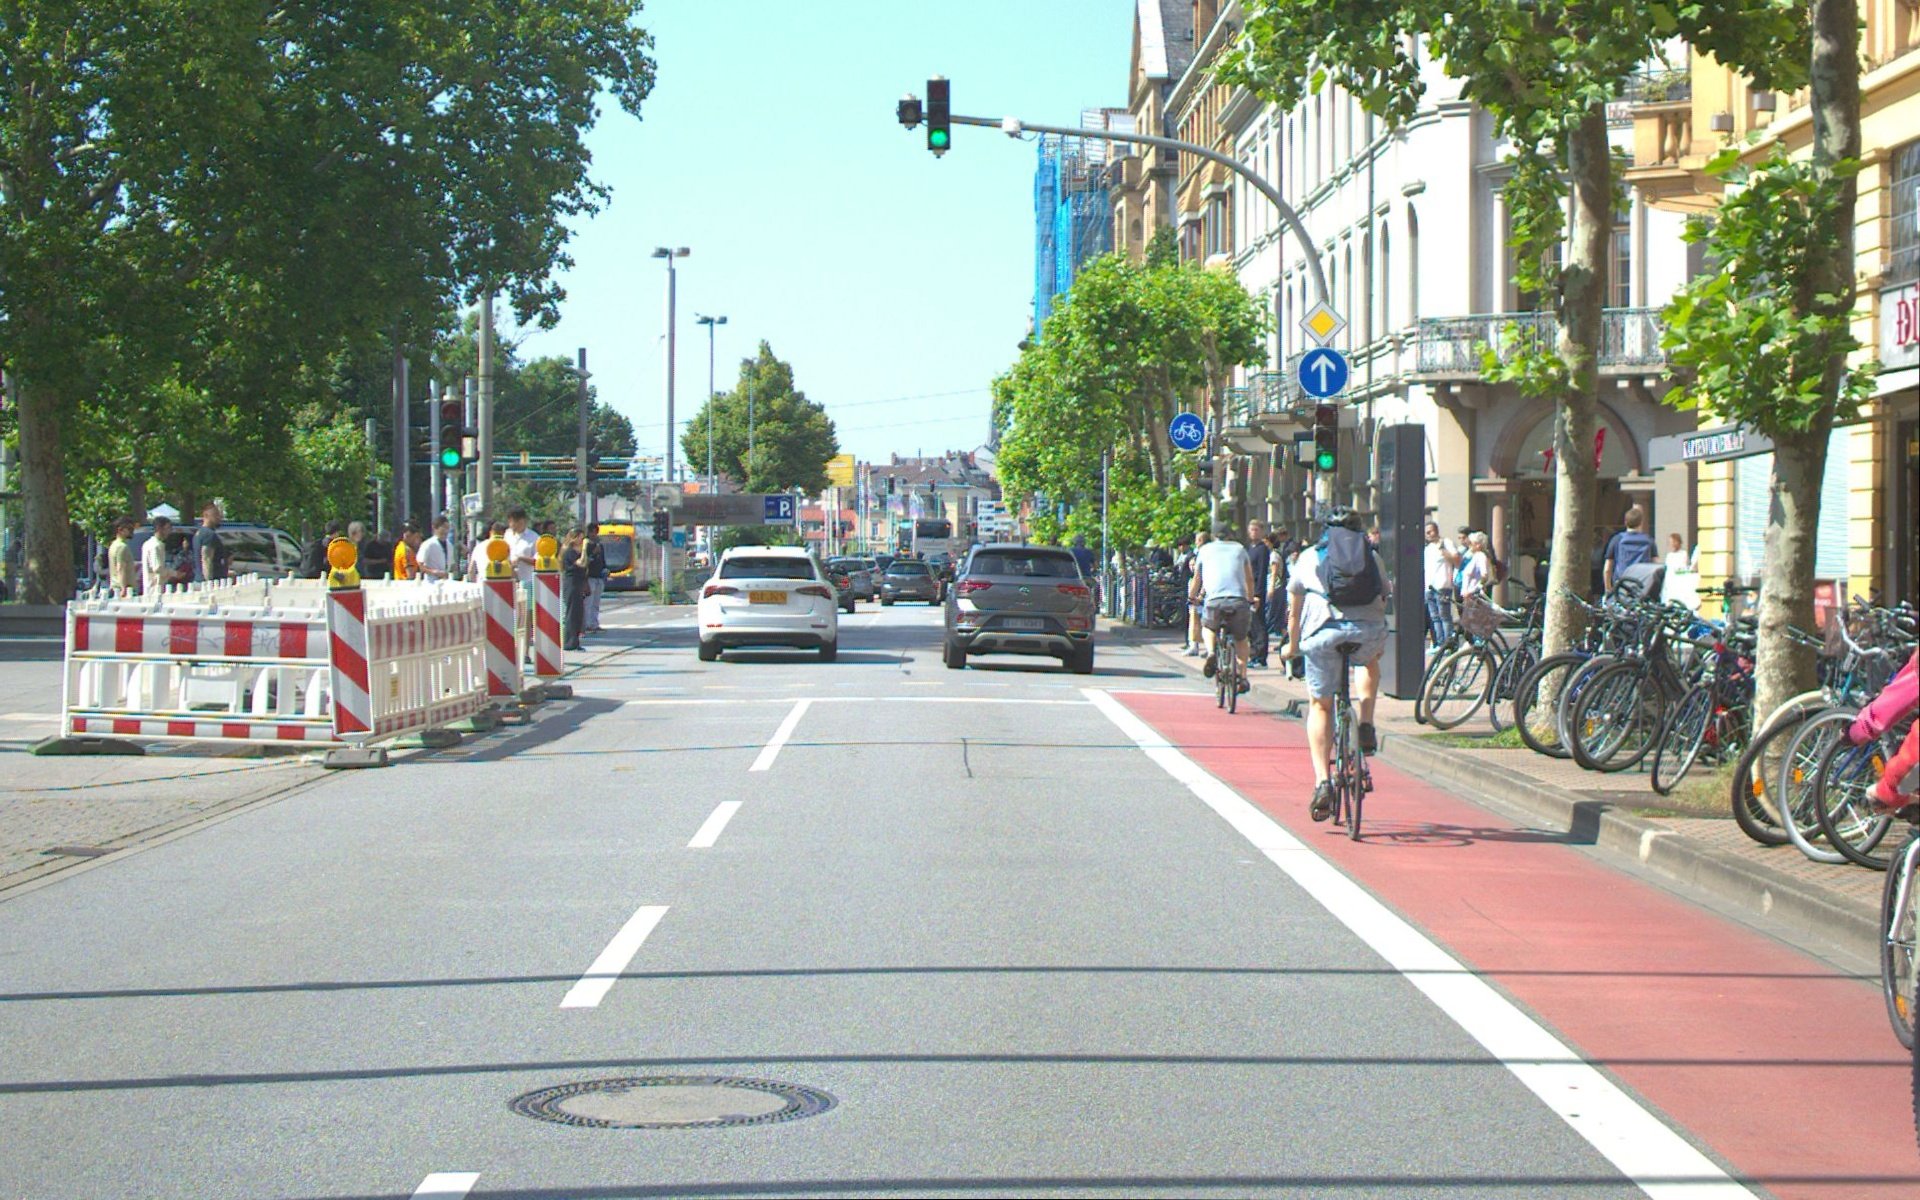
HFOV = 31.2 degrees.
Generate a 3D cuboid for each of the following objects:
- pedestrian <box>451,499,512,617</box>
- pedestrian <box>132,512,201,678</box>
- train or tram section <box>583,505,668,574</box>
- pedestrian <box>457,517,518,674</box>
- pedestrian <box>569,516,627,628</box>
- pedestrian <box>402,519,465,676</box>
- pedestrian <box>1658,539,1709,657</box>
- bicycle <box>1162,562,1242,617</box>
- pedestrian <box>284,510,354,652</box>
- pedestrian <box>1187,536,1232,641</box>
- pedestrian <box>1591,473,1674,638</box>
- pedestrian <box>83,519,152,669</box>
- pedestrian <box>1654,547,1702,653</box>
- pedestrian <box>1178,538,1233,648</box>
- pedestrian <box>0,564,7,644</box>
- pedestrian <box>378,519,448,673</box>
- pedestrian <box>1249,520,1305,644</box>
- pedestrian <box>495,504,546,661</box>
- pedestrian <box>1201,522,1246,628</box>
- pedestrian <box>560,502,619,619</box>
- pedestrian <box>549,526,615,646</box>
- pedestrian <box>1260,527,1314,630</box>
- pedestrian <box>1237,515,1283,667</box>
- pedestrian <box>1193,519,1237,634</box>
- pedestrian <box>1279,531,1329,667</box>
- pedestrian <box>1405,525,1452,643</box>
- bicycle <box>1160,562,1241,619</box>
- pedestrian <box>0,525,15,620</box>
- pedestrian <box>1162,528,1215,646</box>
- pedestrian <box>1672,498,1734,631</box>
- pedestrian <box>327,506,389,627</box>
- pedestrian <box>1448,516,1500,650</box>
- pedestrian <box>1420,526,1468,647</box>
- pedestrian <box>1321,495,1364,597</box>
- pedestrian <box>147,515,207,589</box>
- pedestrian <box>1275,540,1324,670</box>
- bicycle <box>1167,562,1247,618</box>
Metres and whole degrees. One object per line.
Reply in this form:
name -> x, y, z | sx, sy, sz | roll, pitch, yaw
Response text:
pedestrian -> -7.605, -0.669, 54.652 | 0.633, 1.852, 0.730 | 1, 0, 29
pedestrian -> -9.144, -0.062, 39.629 | 0.576, 1.884, 0.653 | 2, 0, 1
train or tram section -> -16.596, -3.019, 171.438 | 2.613, 3.337, 11.001 | 1, 1, 3
pedestrian -> -5.270, -0.053, 38.327 | 0.429, 1.734, 0.606 | 1, 0, -31
pedestrian -> -5.968, -0.464, 56.650 | 0.633, 1.828, 0.730 | 1, 0, 29
pedestrian -> -6.053, -0.027, 39.534 | 0.539, 1.773, 0.606 | 2, 0, 5
pedestrian -> 11.161, -0.033, 53.055 | 0.610, 1.800, 0.678 | 0, 0, -2
bicycle -> 4.442, -0.194, 63.134 | 1.420, 0.976, 0.445 | -1, 2, 0
pedestrian -> -8.454, -0.248, 45.358 | 0.633, 1.852, 0.686 | 1, 0, 21
pedestrian -> 4.056, -0.195, 55.958 | 0.582, 1.668, 0.605 | -3, 0, -2
pedestrian -> 7.424, -0.475, 37.993 | 0.657, 1.784, 1.233 | 0, -1, -1
pedestrian -> -9.949, -0.082, 40.624 | 0.584, 1.715, 0.789 | 0, 4, 1
pedestrian -> 11.104, 0.002, 53.178 | 0.540, 1.627, 0.678 | 1, 0, -2
pedestrian -> 3.493, -0.105, 48.879 | 0.610, 1.510, 0.678 | -4, 1, -2
pedestrian -> -15.678, 0.061, 54.761 | 0.633, 1.288, 0.730 | 1, 0, 21
pedestrian -> -6.158, -0.050, 38.698 | 0.539, 1.712, 0.606 | 1, 0, -31
pedestrian -> 4.615, -0.260, 50.012 | 0.610, 1.753, 0.678 | -4, 0, -2
pedestrian -> -5.395, -0.218, 42.261 | 0.532, 1.912, 0.560 | 0, 0, 1
pedestrian -> 4.232, -0.398, 55.202 | 0.582, 1.668, 0.605 | -3, 0, -2
pedestrian -> -5.704, -0.611, 53.005 | 0.633, 1.788, 0.730 | 1, 0, 21
pedestrian -> -5.079, -0.189, 46.181 | 0.633, 1.590, 0.686 | 1, 0, 21
pedestrian -> 5.477, -0.360, 57.650 | 0.610, 1.699, 0.678 | -1, 1, -28
pedestrian -> 3.782, -0.115, 43.350 | 0.523, 1.891, 0.641 | -1, 0, 3
pedestrian -> 4.054, -0.376, 54.767 | 0.610, 1.817, 0.678 | 0, 0, -2
pedestrian -> 4.159, -0.010, 41.563 | 0.549, 1.625, 0.589 | -1, 0, 3
pedestrian -> 6.413, -0.221, 47.059 | 0.522, 1.606, 0.641 | -1, 0, 0
bicycle -> 4.318, -0.171, 61.724 | 1.420, 0.976, 0.445 | -1, 2, 0
pedestrian -> -15.275, -0.433, 53.790 | 0.633, 1.473, 0.730 | 1, 0, 21
pedestrian -> 3.437, -0.195, 51.753 | 0.610, 1.733, 0.678 | -4, 0, -2
pedestrian -> 10.101, -0.477, 46.721 | 0.549, 1.795, 0.588 | -1, 0, -45
pedestrian -> -9.075, -0.503, 51.815 | 0.633, 1.804, 0.730 | 1, 0, 21
pedestrian -> 6.353, -0.215, 42.491 | 0.549, 1.634, 0.589 | -1, 0, 3
pedestrian -> 6.475, -0.178, 46.026 | 0.522, 1.603, 0.641 | -1, 0, 0
pedestrian -> 6.754, -0.946, 60.714 | 0.675, 1.785, 0.612 | 0, 0, 0
pedestrian -> -12.174, -0.738, 53.449 | 0.633, 1.140, 0.664 | 1, 0, 21
pedestrian -> 4.031, 0.057, 40.875 | 0.523, 1.516, 0.641 | -1, 0, 3
bicycle -> 4.465, -0.180, 62.186 | 1.420, 0.976, 0.445 | -1, 2, 0
